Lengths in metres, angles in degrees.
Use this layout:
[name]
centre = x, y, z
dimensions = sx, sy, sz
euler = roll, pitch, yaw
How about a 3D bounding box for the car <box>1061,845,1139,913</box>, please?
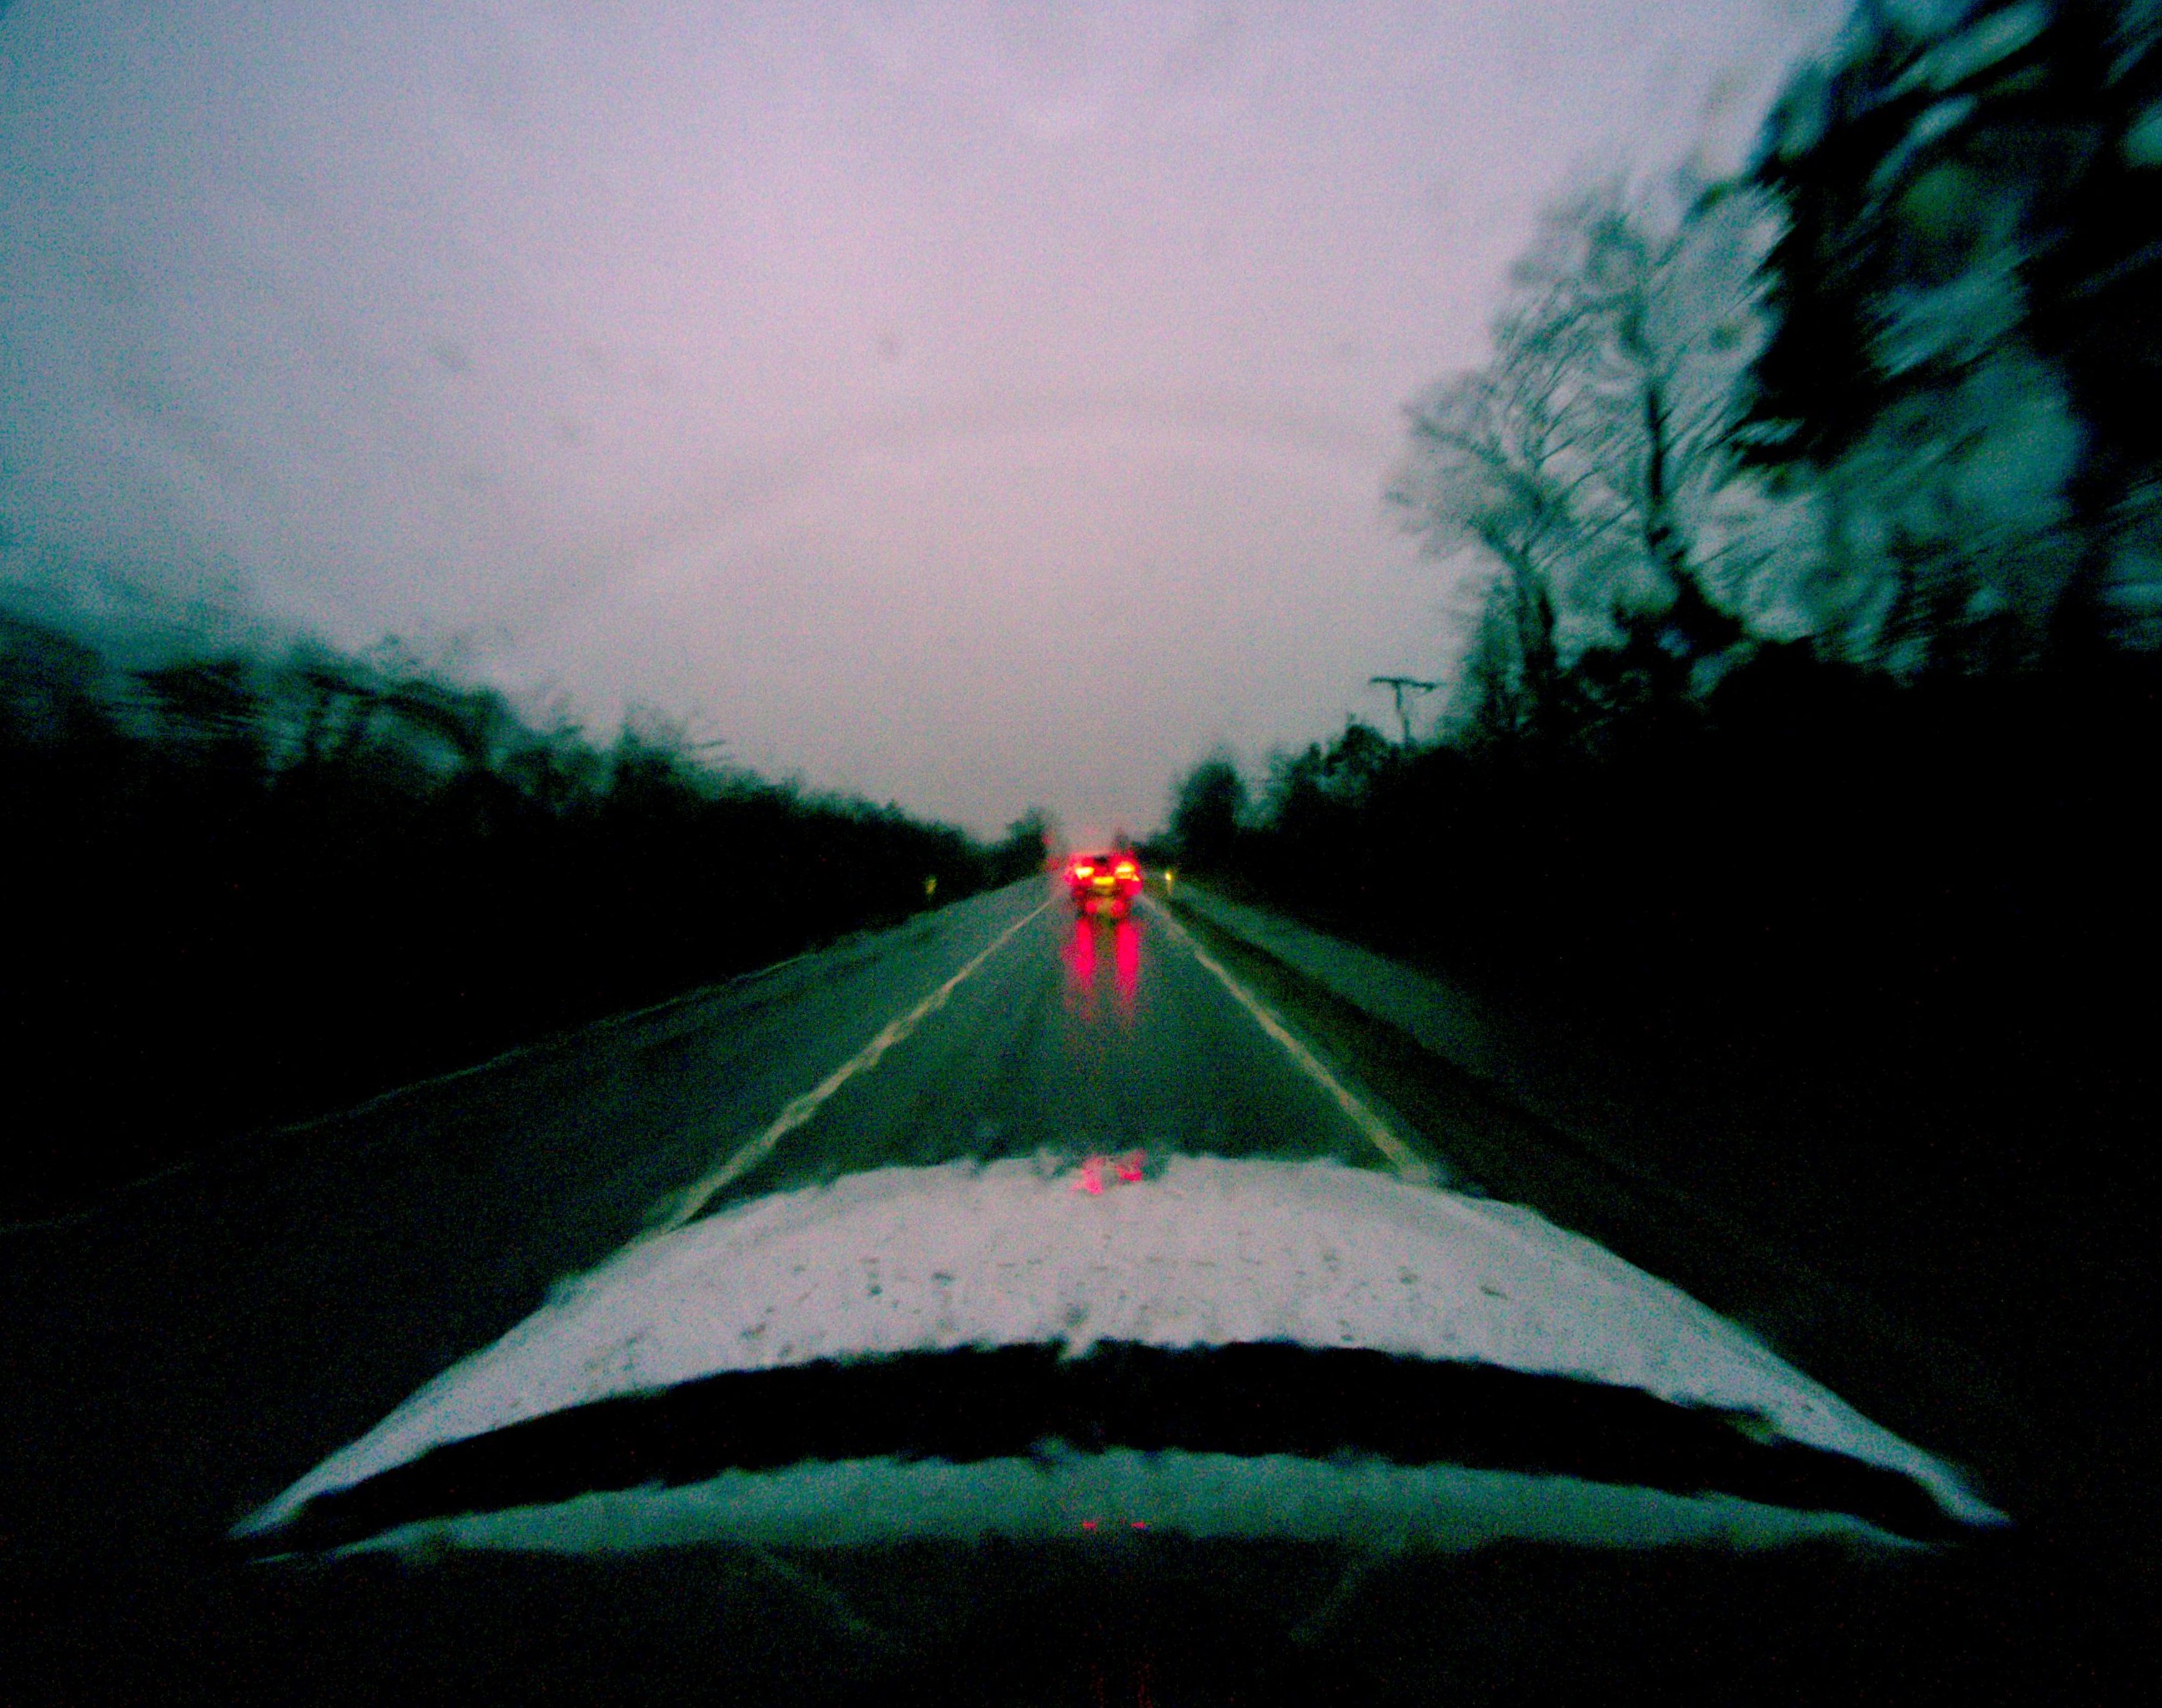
[car]
centre = 0.600, 0.686, 24.958
dimensions = 2.112, 1.820, 4.982
euler = -1, 0, 2
